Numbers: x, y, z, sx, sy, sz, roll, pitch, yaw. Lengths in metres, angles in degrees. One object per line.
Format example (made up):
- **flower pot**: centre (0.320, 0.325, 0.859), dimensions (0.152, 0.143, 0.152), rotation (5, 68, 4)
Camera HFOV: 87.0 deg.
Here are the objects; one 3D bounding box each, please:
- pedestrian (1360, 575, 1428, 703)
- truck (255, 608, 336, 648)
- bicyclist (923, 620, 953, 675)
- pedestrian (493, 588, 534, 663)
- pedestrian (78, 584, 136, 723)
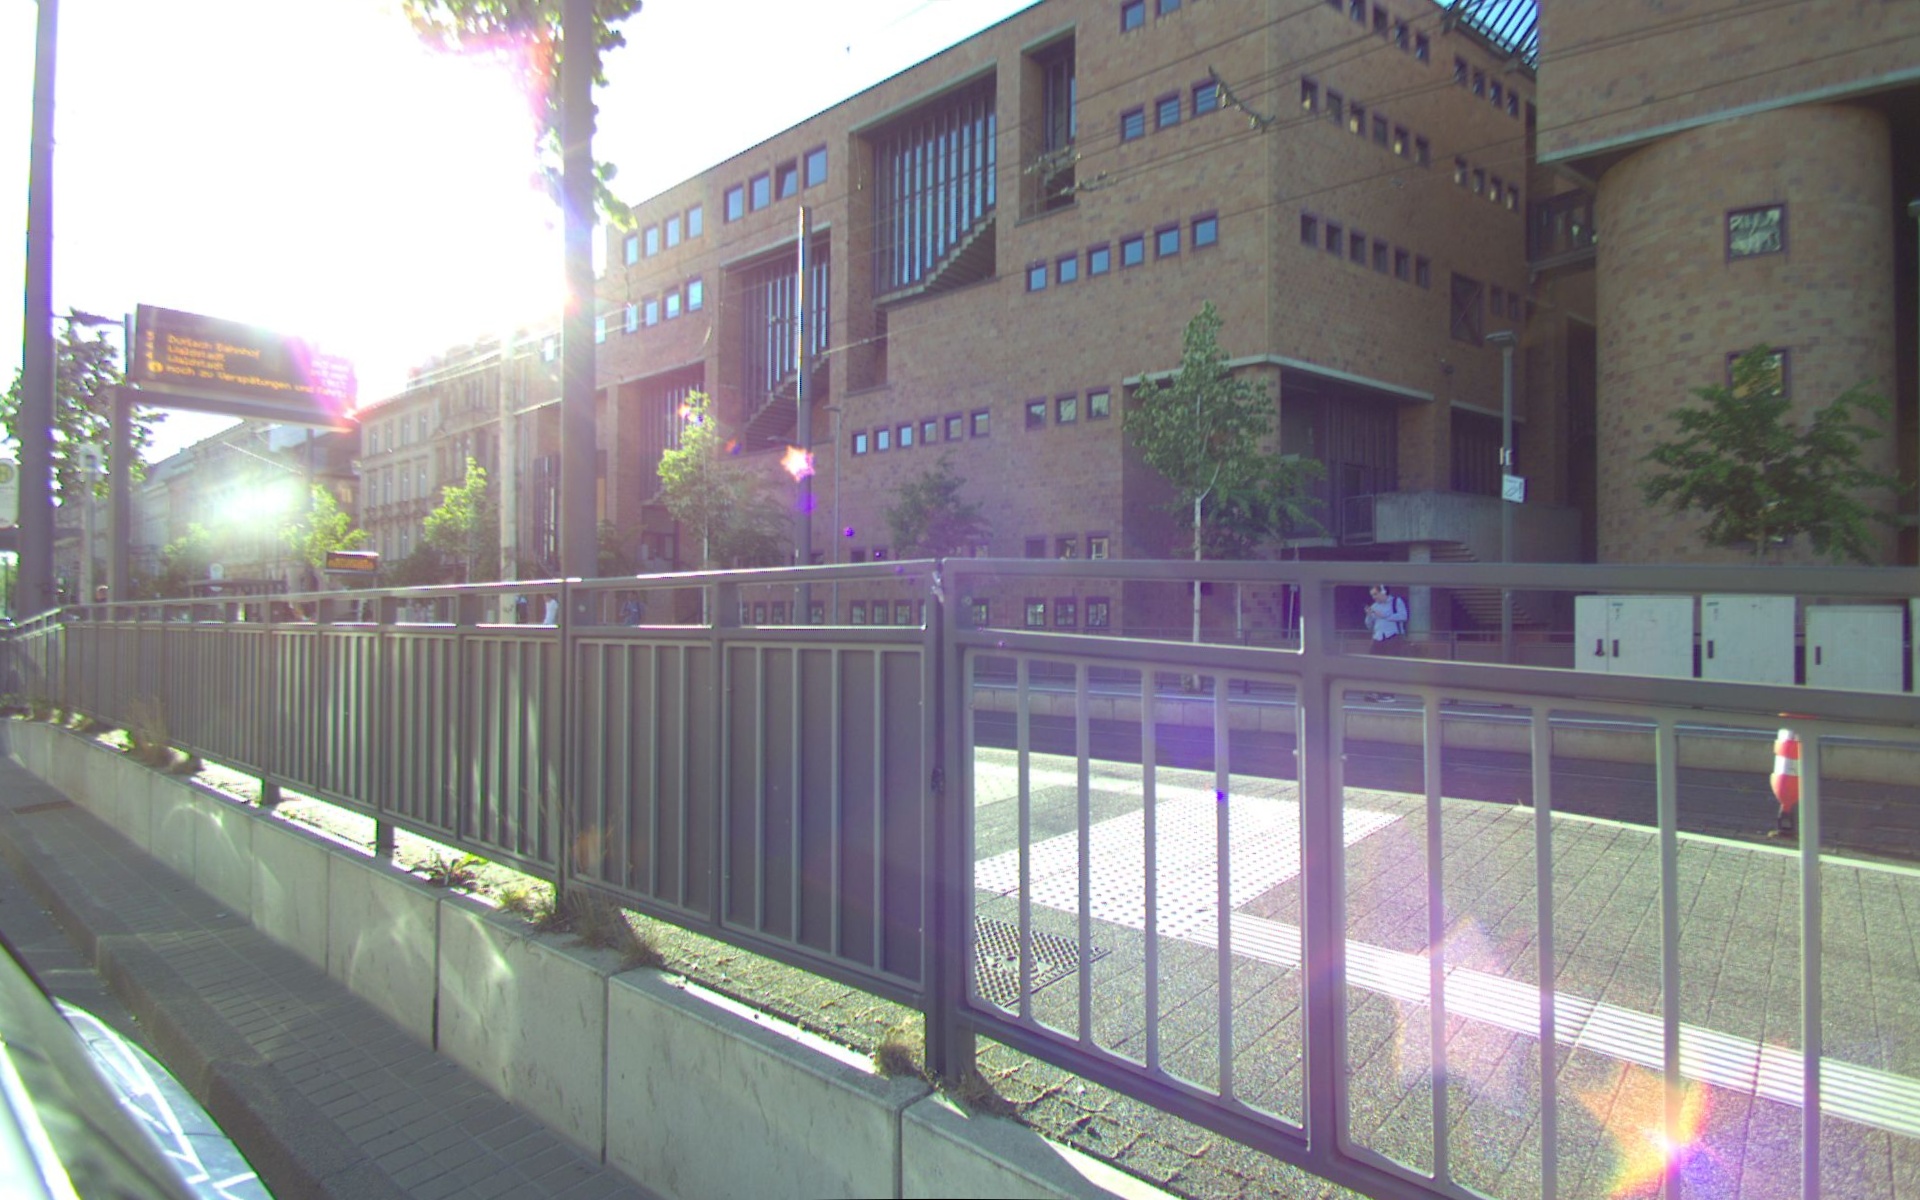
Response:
- **pedestrian**: centre (5.783, 0.494, 13.478), dimensions (0.684, 1.647, 0.660), rotation (0, 0, 37)
- **truck**: centre (-33.797, 1.431, 51.422), dimensions (5.151, 1.894, 1.973), rotation (-2, -4, 40)
- **bicyclist**: centre (-0.636, 1.352, 29.308), dimensions (0.650, 1.545, 0.580), rotation (0, 0, 41)
- **pedestrian**: centre (-11.032, 0.609, 25.014), dimensions (0.668, 1.821, 0.677), rotation (0, 0, 40)
- **pedestrian**: centre (-15.386, 0.939, 18.266), dimensions (0.625, 2.461, 0.676), rotation (0, 0, 38)
